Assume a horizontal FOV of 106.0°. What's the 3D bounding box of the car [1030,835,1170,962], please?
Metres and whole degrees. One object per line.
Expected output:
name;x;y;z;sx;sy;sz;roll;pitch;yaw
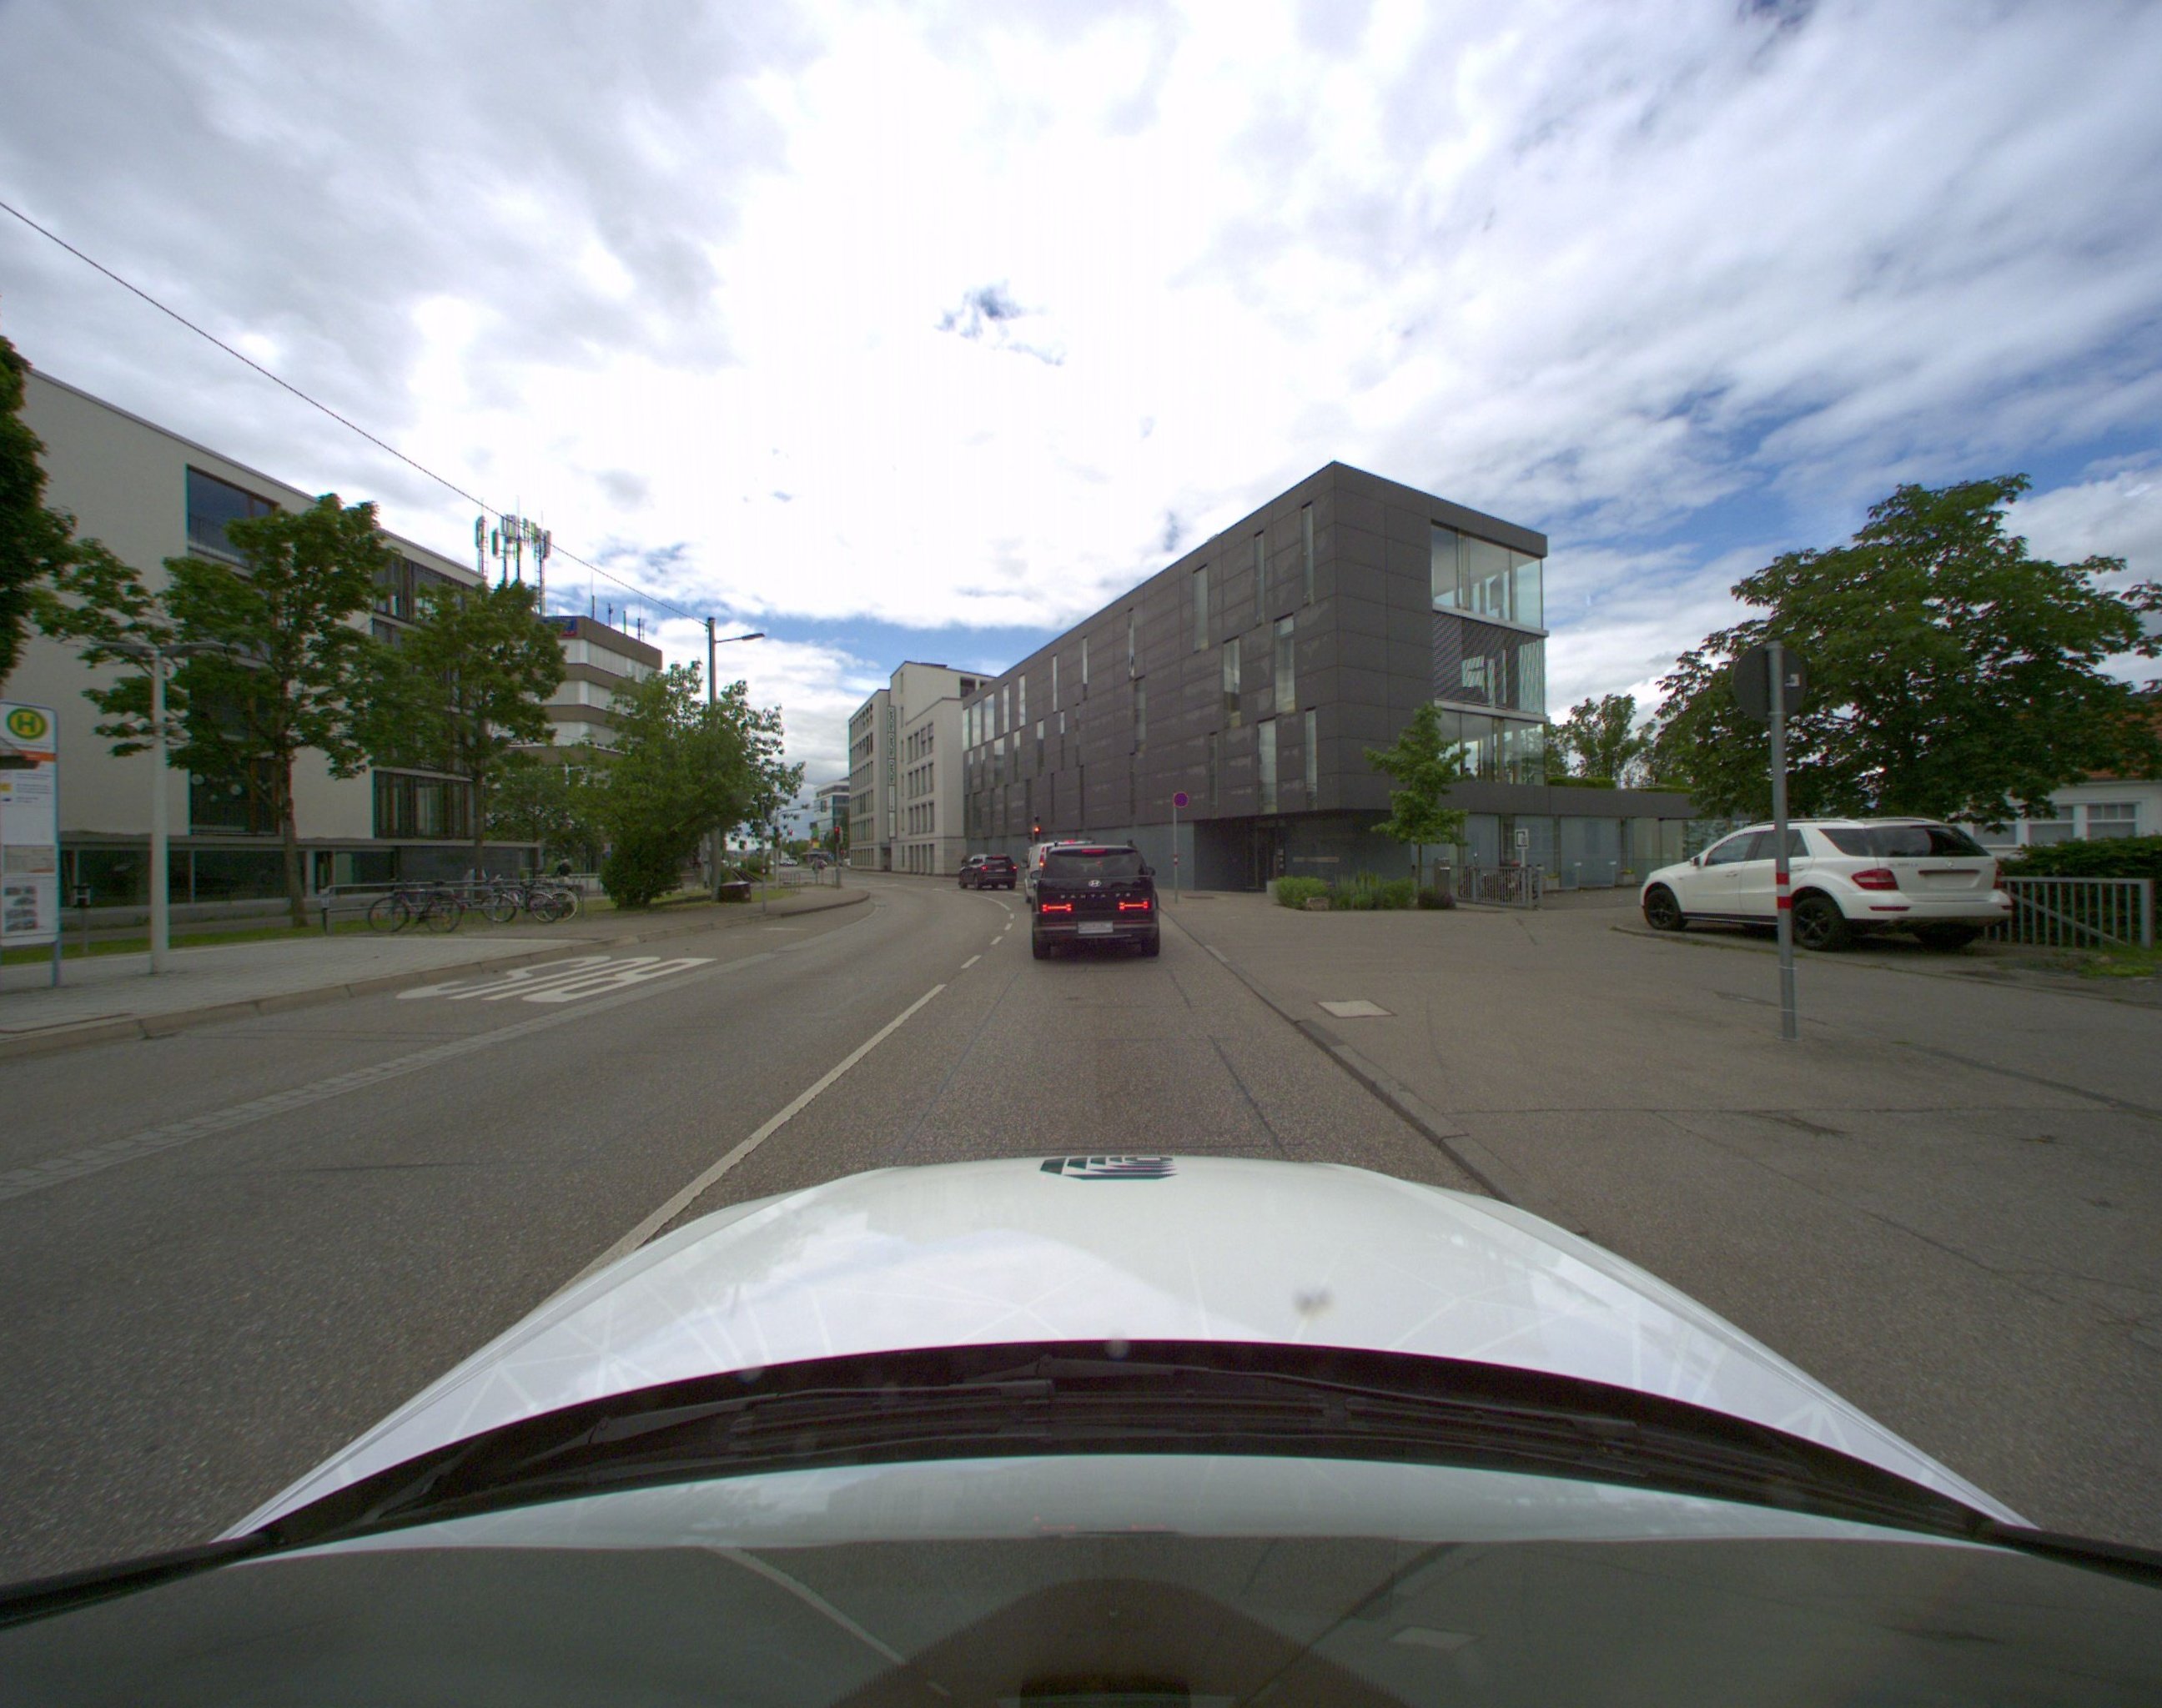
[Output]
car;0.197;0.613;13.279;1.910;1.725;4.167;1;0;-2

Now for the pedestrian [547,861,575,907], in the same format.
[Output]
pedestrian;-23.142;1.322;36.290;0.769;2.014;0.885;2;-1;-18

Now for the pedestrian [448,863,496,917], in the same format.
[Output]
pedestrian;-20.461;1.204;27.392;0.827;1.765;0.907;2;-1;1

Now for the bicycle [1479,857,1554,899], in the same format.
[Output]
bicycle;13.524;0.729;25.374;0.617;1.260;2.085;-1;0;-25

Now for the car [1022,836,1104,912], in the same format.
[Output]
car;-0.650;0.537;24.511;1.855;2.033;4.423;-1;0;-9

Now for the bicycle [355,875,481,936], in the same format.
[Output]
bicycle;-12.662;0.972;15.576;1.921;1.106;0.587;0;0;1

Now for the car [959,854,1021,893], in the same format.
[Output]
car;-4.364;0.893;38.482;1.854;1.677;4.345;-2;-1;-20

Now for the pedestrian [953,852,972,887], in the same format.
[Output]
pedestrian;-6.333;0.823;43.525;0.938;1.801;0.589;-1;0;-11

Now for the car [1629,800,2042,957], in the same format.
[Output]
car;10.767;0.329;12.242;1.987;1.838;4.517;-2;-1;0

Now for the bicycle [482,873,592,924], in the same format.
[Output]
bicycle;-12.358;1.001;18.524;2.091;1.106;0.632;0;0;2

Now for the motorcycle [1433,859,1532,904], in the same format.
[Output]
motorcycle;11.927;0.795;24.321;0.850;1.260;2.672;-1;0;-25

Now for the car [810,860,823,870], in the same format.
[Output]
car;-42.631;1.753;131.363;1.904;1.486;3.977;-1;0;-17

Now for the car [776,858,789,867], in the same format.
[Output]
car;-60.529;1.697;165.084;1.864;1.695;3.960;-1;0;-31

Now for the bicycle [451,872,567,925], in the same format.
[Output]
bicycle;-12.482;0.963;17.797;2.091;1.106;0.632;0;0;1
